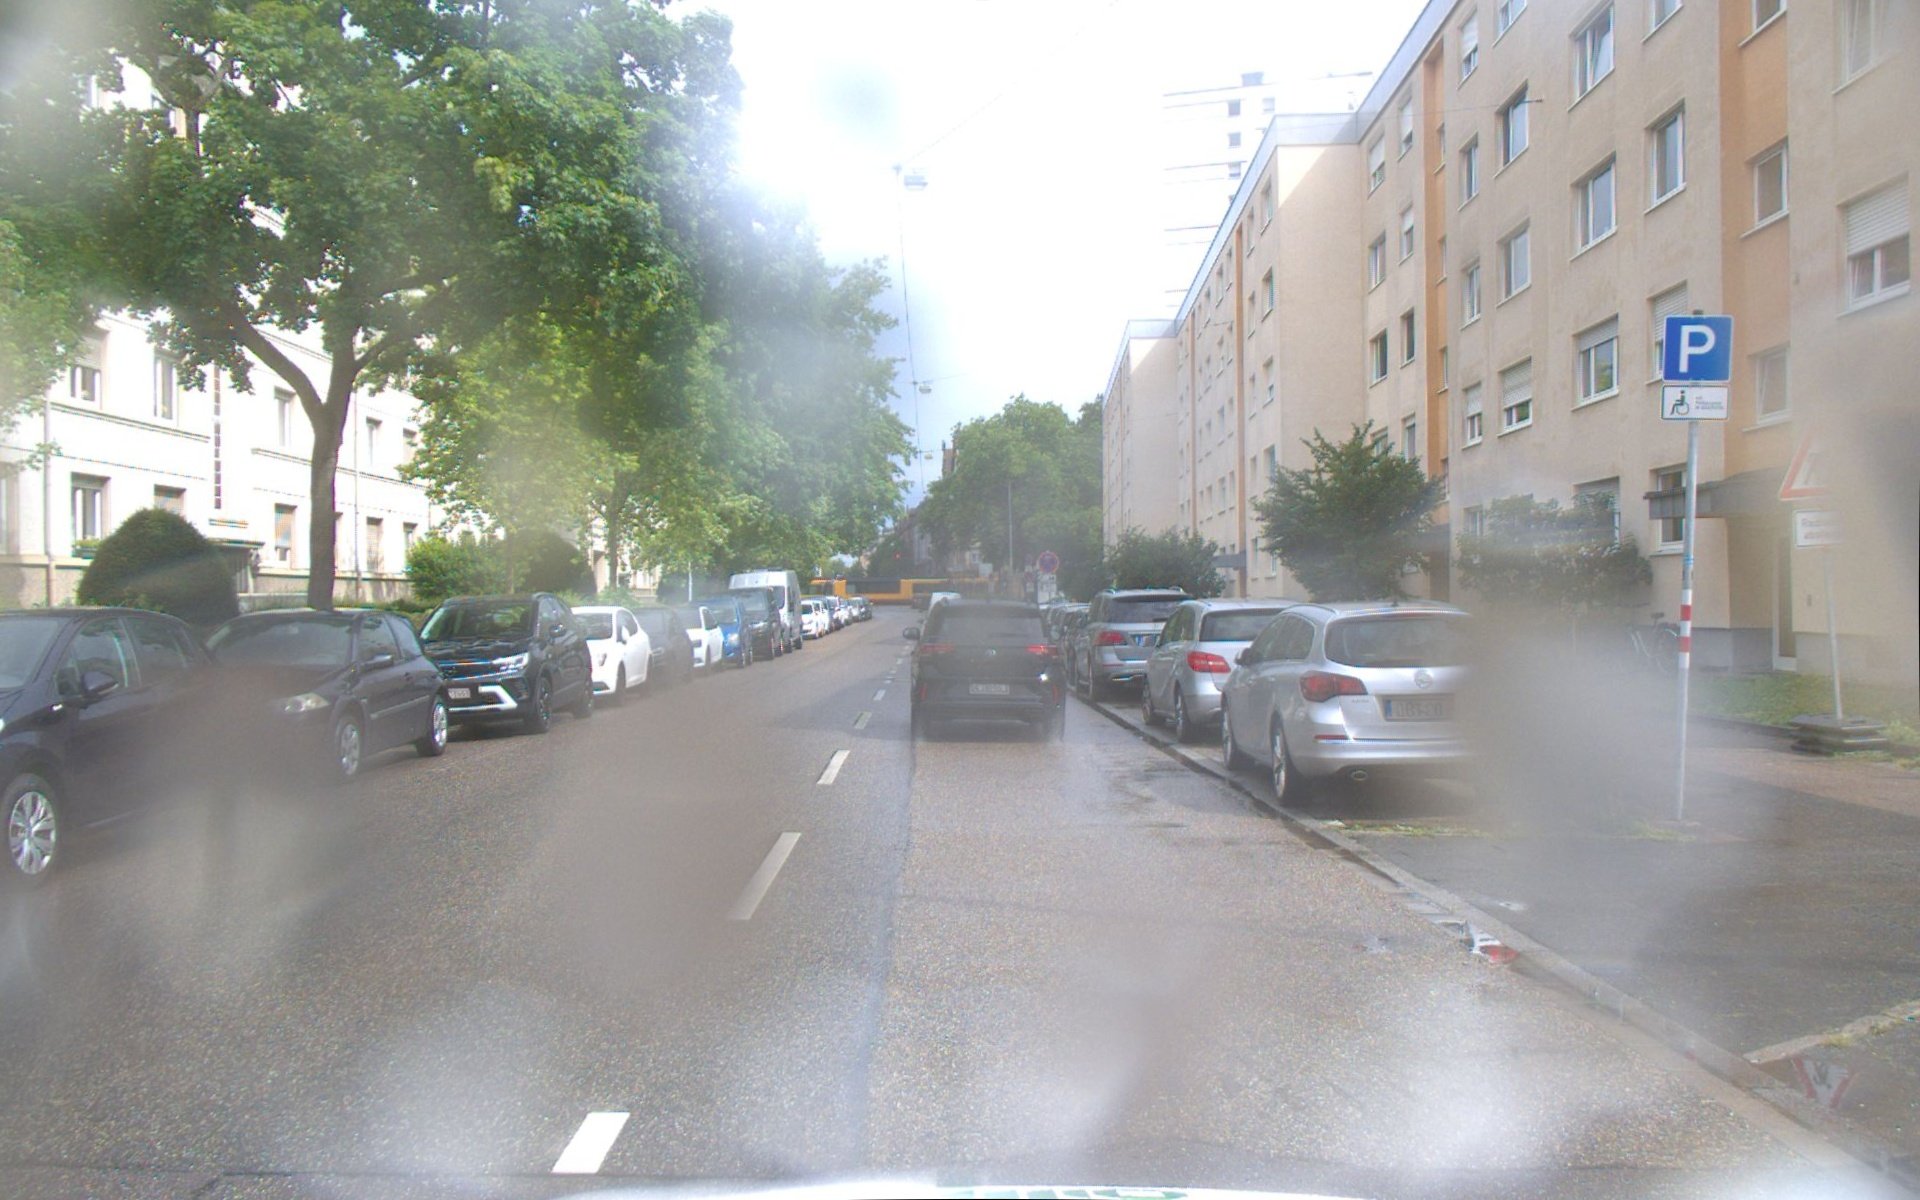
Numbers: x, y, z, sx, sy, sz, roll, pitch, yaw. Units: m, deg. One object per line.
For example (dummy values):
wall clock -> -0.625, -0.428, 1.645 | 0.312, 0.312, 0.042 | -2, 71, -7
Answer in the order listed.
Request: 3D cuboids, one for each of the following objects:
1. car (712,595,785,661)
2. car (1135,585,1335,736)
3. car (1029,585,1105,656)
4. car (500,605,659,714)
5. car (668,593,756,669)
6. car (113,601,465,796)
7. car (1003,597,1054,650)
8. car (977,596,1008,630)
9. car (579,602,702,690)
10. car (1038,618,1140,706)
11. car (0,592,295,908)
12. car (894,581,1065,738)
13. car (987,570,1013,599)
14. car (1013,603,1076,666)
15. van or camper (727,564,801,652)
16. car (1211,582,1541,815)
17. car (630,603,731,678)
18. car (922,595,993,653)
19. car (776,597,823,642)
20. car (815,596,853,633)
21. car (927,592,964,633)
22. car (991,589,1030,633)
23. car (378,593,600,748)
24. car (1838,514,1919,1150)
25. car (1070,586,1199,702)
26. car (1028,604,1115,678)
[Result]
car -> -5.731, 0.736, 45.225 | 1.554, 1.668, 3.919 | -2, 0, -2
car -> 3.104, 0.634, 19.414 | 1.572, 1.532, 4.031 | -2, 0, -1
car -> 2.707, 0.501, 42.437 | 1.572, 1.664, 4.031 | -2, 0, -1
car -> -5.626, 0.824, 24.877 | 1.554, 1.442, 3.919 | -2, 0, -2
car -> -5.867, 0.702, 39.436 | 1.554, 1.668, 3.919 | -2, 0, -2
car -> -5.780, 0.759, 14.785 | 1.554, 1.442, 4.051 | -2, 0, -2
car -> 2.482, 0.836, 60.404 | 1.572, 1.796, 4.031 | -2, 0, -1
car -> 1.815, 0.705, 92.803 | 1.631, 1.870, 4.000 | -1, 0, 1
car -> -5.757, 0.785, 30.168 | 1.554, 1.442, 3.919 | -2, 0, -2
car -> 2.472, 1.159, 32.418 | 1.572, 1.532, 4.031 | -2, 0, -1
car -> -5.501, 0.756, 9.774 | 1.554, 1.532, 4.063 | -2, 0, -2
car -> 0.309, 0.640, 20.080 | 1.834, 1.674, 4.063 | 1, 0, 3
car -> 2.663, -1.045, 111.430 | 1.631, 1.870, 4.000 | -1, 0, 1
car -> 2.522, 1.007, 50.066 | 1.572, 1.796, 4.031 | -2, 0, -1
van or camper -> -6.028, 0.235, 51.376 | 1.766, 2.537, 5.019 | -2, 0, -2
car -> 3.206, 0.685, 13.541 | 1.660, 1.566, 4.032 | -2, 0, 0
car -> -5.920, 0.820, 35.390 | 1.554, 1.442, 3.919 | -2, 0, -2
car -> -0.038, 0.675, 46.764 | 1.775, 1.529, 4.001 | 1, -1, 3
car -> -6.339, 0.741, 65.579 | 1.554, 1.668, 3.919 | -2, 0, -2
car -> -6.013, 0.691, 79.351 | 1.554, 1.668, 3.919 | -2, 0, -2
car -> -0.777, 0.670, 89.623 | 1.798, 2.140, 4.000 | 1, -1, 2
car -> 2.234, 0.485, 73.503 | 1.631, 1.870, 4.000 | -1, 0, 1
car -> -5.473, 0.750, 19.706 | 1.554, 1.603, 4.013 | -2, 0, -2
car -> 3.393, 0.639, 2.800 | 1.572, 1.690, 4.031 | 1, 0, -2
car -> 2.771, 0.671, 27.039 | 1.572, 1.701, 4.031 | -2, 0, -1
car -> 2.474, 0.885, 37.436 | 1.572, 1.532, 4.031 | -2, 0, -1
